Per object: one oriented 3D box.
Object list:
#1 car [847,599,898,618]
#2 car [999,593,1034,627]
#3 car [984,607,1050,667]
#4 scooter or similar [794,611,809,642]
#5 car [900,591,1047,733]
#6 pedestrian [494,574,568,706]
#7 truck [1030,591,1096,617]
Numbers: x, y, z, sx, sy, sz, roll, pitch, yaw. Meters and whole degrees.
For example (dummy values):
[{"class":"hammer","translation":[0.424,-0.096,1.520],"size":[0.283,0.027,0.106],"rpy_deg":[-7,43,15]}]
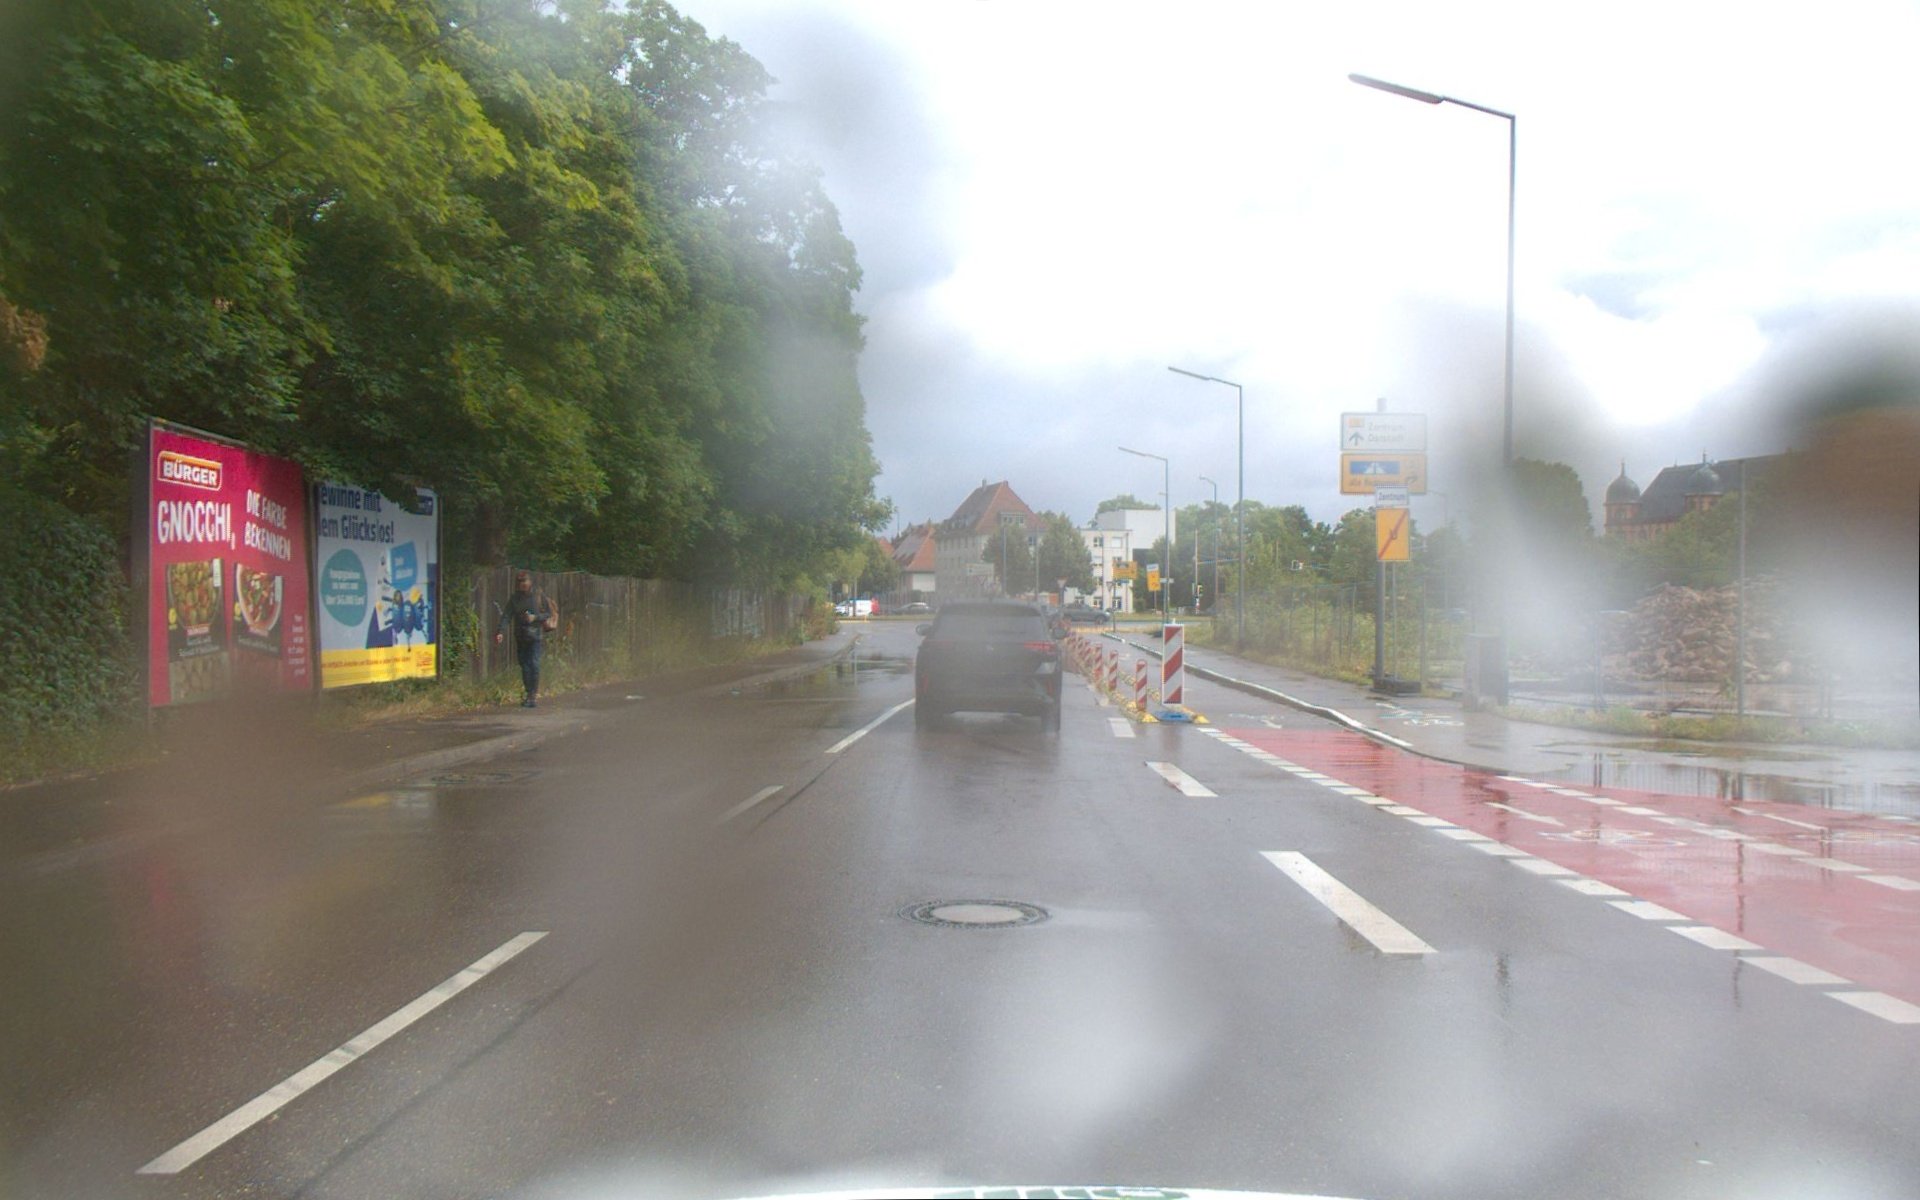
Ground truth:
[{"class":"car","translation":[-8.984,0.902,170.014],"size":[5.082,1.909,1.868],"rpy_deg":[0,0,-39]},{"class":"car","translation":[3.164,0.550,93.624],"size":[1.826,1.841,4.403],"rpy_deg":[0,0,0]},{"class":"car","translation":[1.540,0.985,45.516],"size":[1.699,1.540,3.604],"rpy_deg":[0,0,0]},{"class":"scooter or similar","translation":[-6.116,0.999,63.868],"size":[0.551,1.183,1.207],"rpy_deg":[0,0,-5]},{"class":"car","translation":[0.142,0.729,20.898],"size":[1.674,1.601,3.682],"rpy_deg":[1,0,-1]},{"class":"pedestrian","translation":[-5.967,0.555,23.028],"size":[0.821,1.800,0.644],"rpy_deg":[-1,-1,2]},{"class":"truck","translation":[10.919,0.371,175.872],"size":[6.918,2.696,2.331],"rpy_deg":[0,0,3]}]
